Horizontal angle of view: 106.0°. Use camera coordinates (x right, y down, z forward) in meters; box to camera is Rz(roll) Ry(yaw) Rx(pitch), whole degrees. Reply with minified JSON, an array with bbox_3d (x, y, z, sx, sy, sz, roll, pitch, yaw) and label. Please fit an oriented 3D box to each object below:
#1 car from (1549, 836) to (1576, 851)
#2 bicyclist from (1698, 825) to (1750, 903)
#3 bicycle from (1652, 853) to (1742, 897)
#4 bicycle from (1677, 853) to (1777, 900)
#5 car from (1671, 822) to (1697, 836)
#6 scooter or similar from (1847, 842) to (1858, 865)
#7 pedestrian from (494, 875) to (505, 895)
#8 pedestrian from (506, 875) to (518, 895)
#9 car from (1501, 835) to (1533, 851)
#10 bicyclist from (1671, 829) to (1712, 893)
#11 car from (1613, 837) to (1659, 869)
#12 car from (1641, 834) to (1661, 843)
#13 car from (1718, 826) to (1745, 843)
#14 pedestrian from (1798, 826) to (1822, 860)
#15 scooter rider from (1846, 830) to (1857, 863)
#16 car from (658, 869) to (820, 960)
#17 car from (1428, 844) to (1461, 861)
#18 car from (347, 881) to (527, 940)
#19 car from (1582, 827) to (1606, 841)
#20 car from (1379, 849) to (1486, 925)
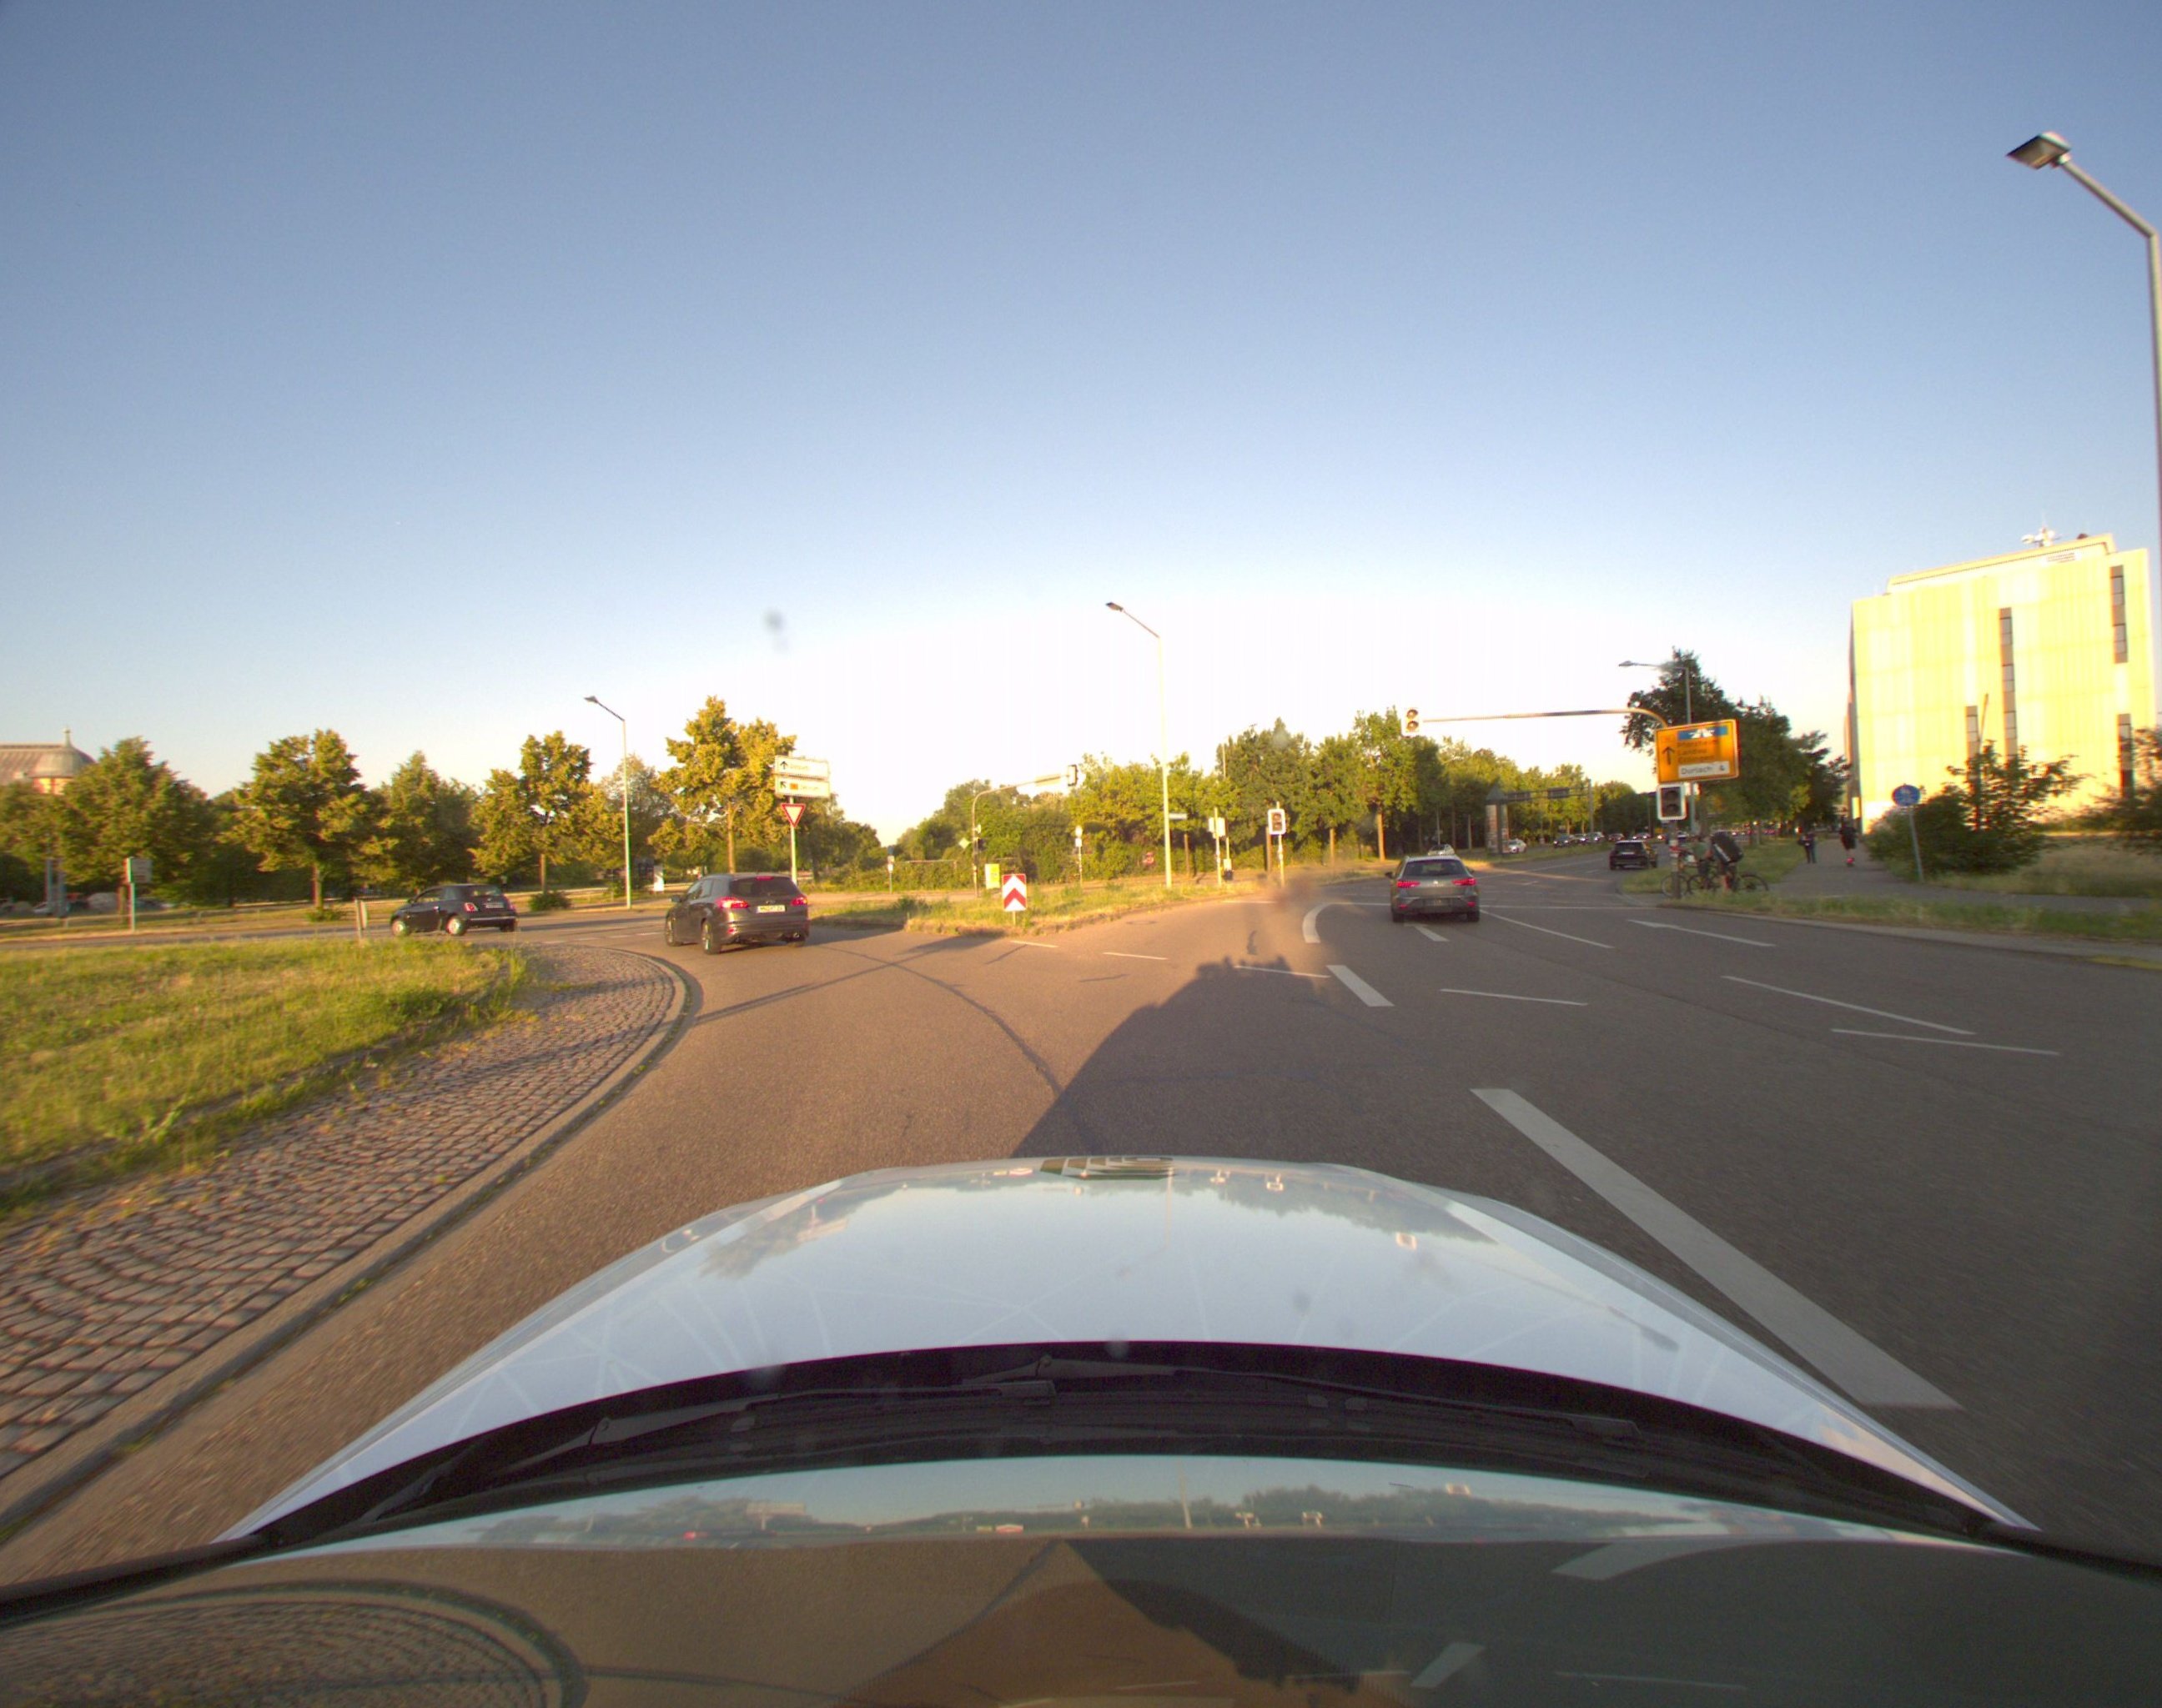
[{"bbox_3d":[58.293,-1.282,98.569,1.780,1.633,4.483,-4,-2,43],"label":"car"},{"bbox_3d":[16.278,0.248,20.630,0.898,1.897,0.645,-5,-2,40],"label":"bicyclist"},{"bbox_3d":[17.072,0.599,22.598,1.903,1.085,0.459,-6,-2,41],"label":"bicycle"},{"bbox_3d":[16.344,0.583,20.633,1.903,1.085,0.459,-5,-2,41],"label":"bicycle"},{"bbox_3d":[67.091,-2.767,90.625,1.974,1.470,4.025,-2,0,41],"label":"car"},{"bbox_3d":[31.391,-0.021,33.137,0.244,0.914,1.045,-2,0,42],"label":"scooter or similar"},{"bbox_3d":[-49.280,2.647,69.045,0.526,1.626,0.584,-3,-1,36],"label":"pedestrian"},{"bbox_3d":[-48.012,2.604,68.686,0.523,1.626,0.624,-3,-1,30],"label":"pedestrian"},{"bbox_3d":[43.737,-1.089,81.671,1.705,1.449,4.578,-3,-1,41],"label":"car"},{"bbox_3d":[16.982,0.198,22.651,0.760,1.702,0.645,-6,-2,40],"label":"bicyclist"},{"bbox_3d":[29.332,-0.061,43.144,1.795,1.525,4.161,-2,0,32],"label":"car"},{"bbox_3d":[93.279,-2.578,133.232,1.822,1.460,4.608,-2,-1,45],"label":"car"},{"bbox_3d":[63.635,-1.918,79.616,1.887,1.618,4.025,-2,0,41],"label":"car"},{"bbox_3d":[33.969,-0.519,37.959,0.786,1.550,0.571,-3,-1,43],"label":"pedestrian"},{"bbox_3d":[31.347,-0.299,33.129,0.261,1.339,0.409,-2,0,42],"label":"scooter rider"},{"bbox_3d":[-6.850,1.088,16.080,1.761,1.466,4.086,-3,0,-41],"label":"car"},{"bbox_3d":[34.191,-0.167,76.564,3.507,1.443,1.535,-1,-2,-45],"label":"car"},{"bbox_3d":[-18.498,1.608,23.452,4.094,1.446,1.757,-2,0,11],"label":"car"},{"bbox_3d":[69.122,-2.681,109.748,1.898,1.754,4.952,-4,-2,41],"label":"car"},{"bbox_3d":[7.717,0.653,18.227,1.732,1.424,4.154,-2,0,17],"label":"car"}]
